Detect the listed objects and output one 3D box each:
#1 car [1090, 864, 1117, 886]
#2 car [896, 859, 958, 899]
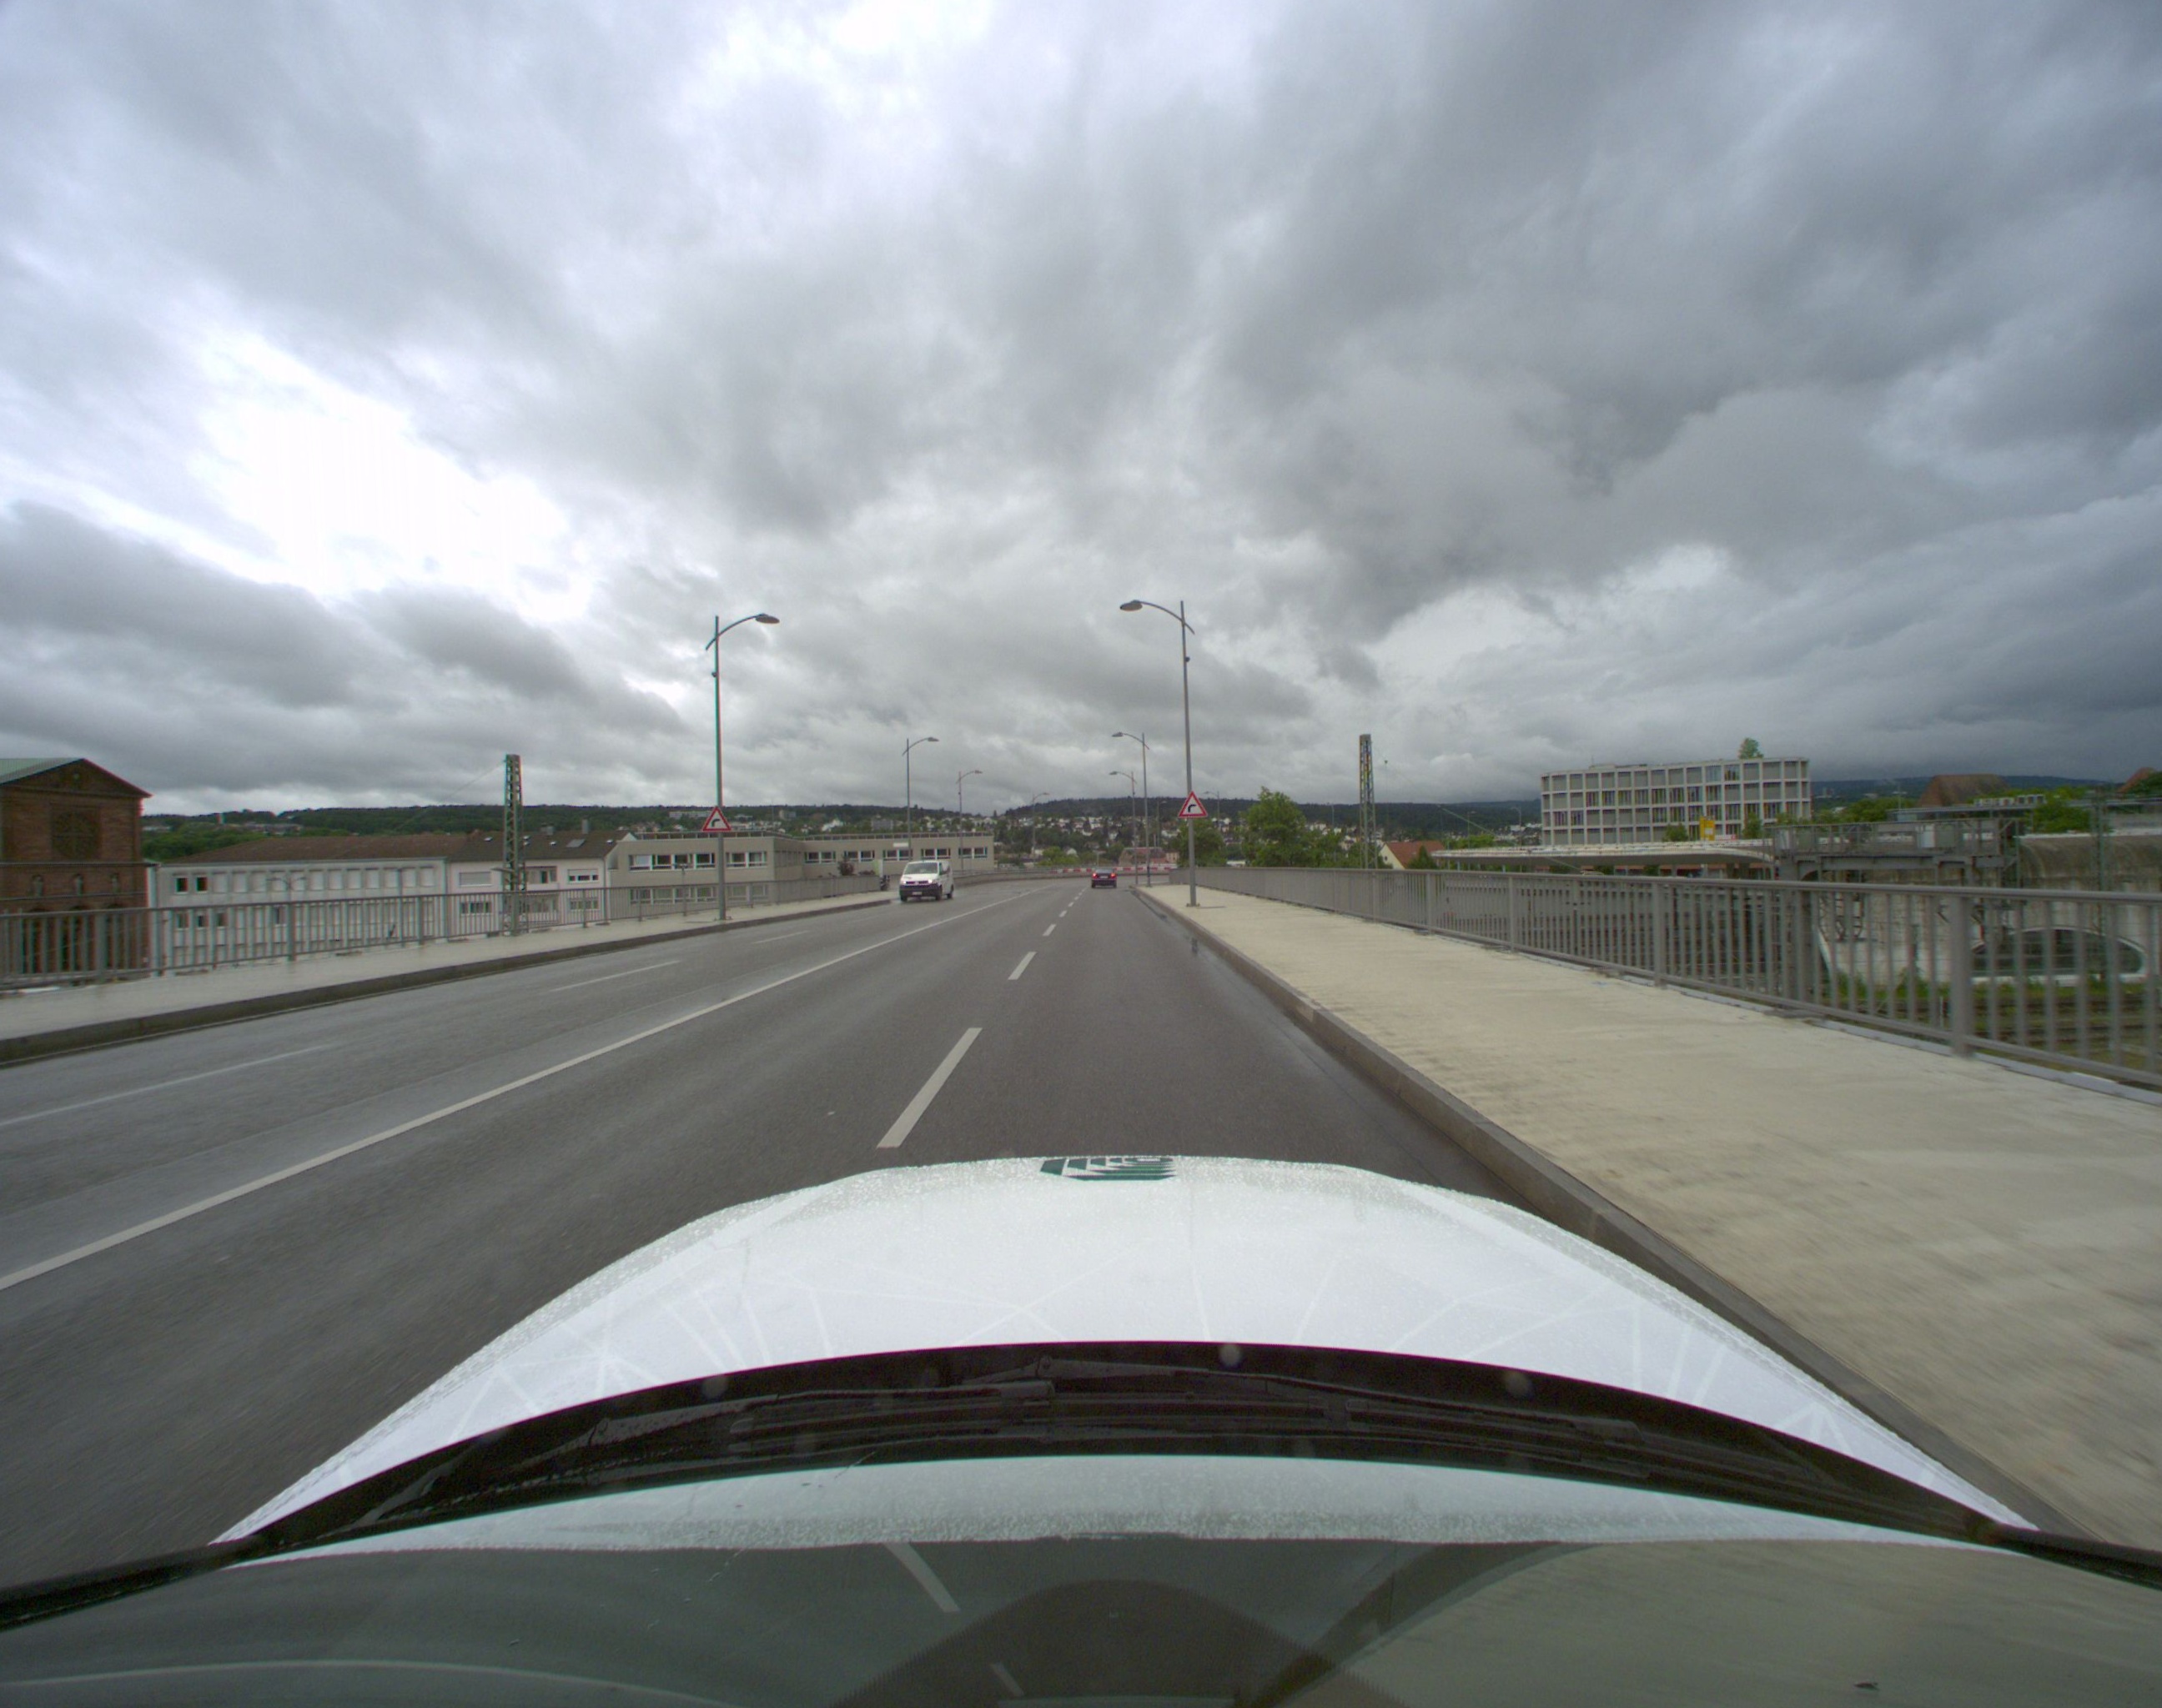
[{"bbox_3d":[1.532,1.378,55.211,1.699,1.419,3.727,-1,-1,2],"label":"car"},{"bbox_3d":[-7.457,1.201,39.863,1.879,1.822,4.960,-1,-1,2],"label":"car"}]
